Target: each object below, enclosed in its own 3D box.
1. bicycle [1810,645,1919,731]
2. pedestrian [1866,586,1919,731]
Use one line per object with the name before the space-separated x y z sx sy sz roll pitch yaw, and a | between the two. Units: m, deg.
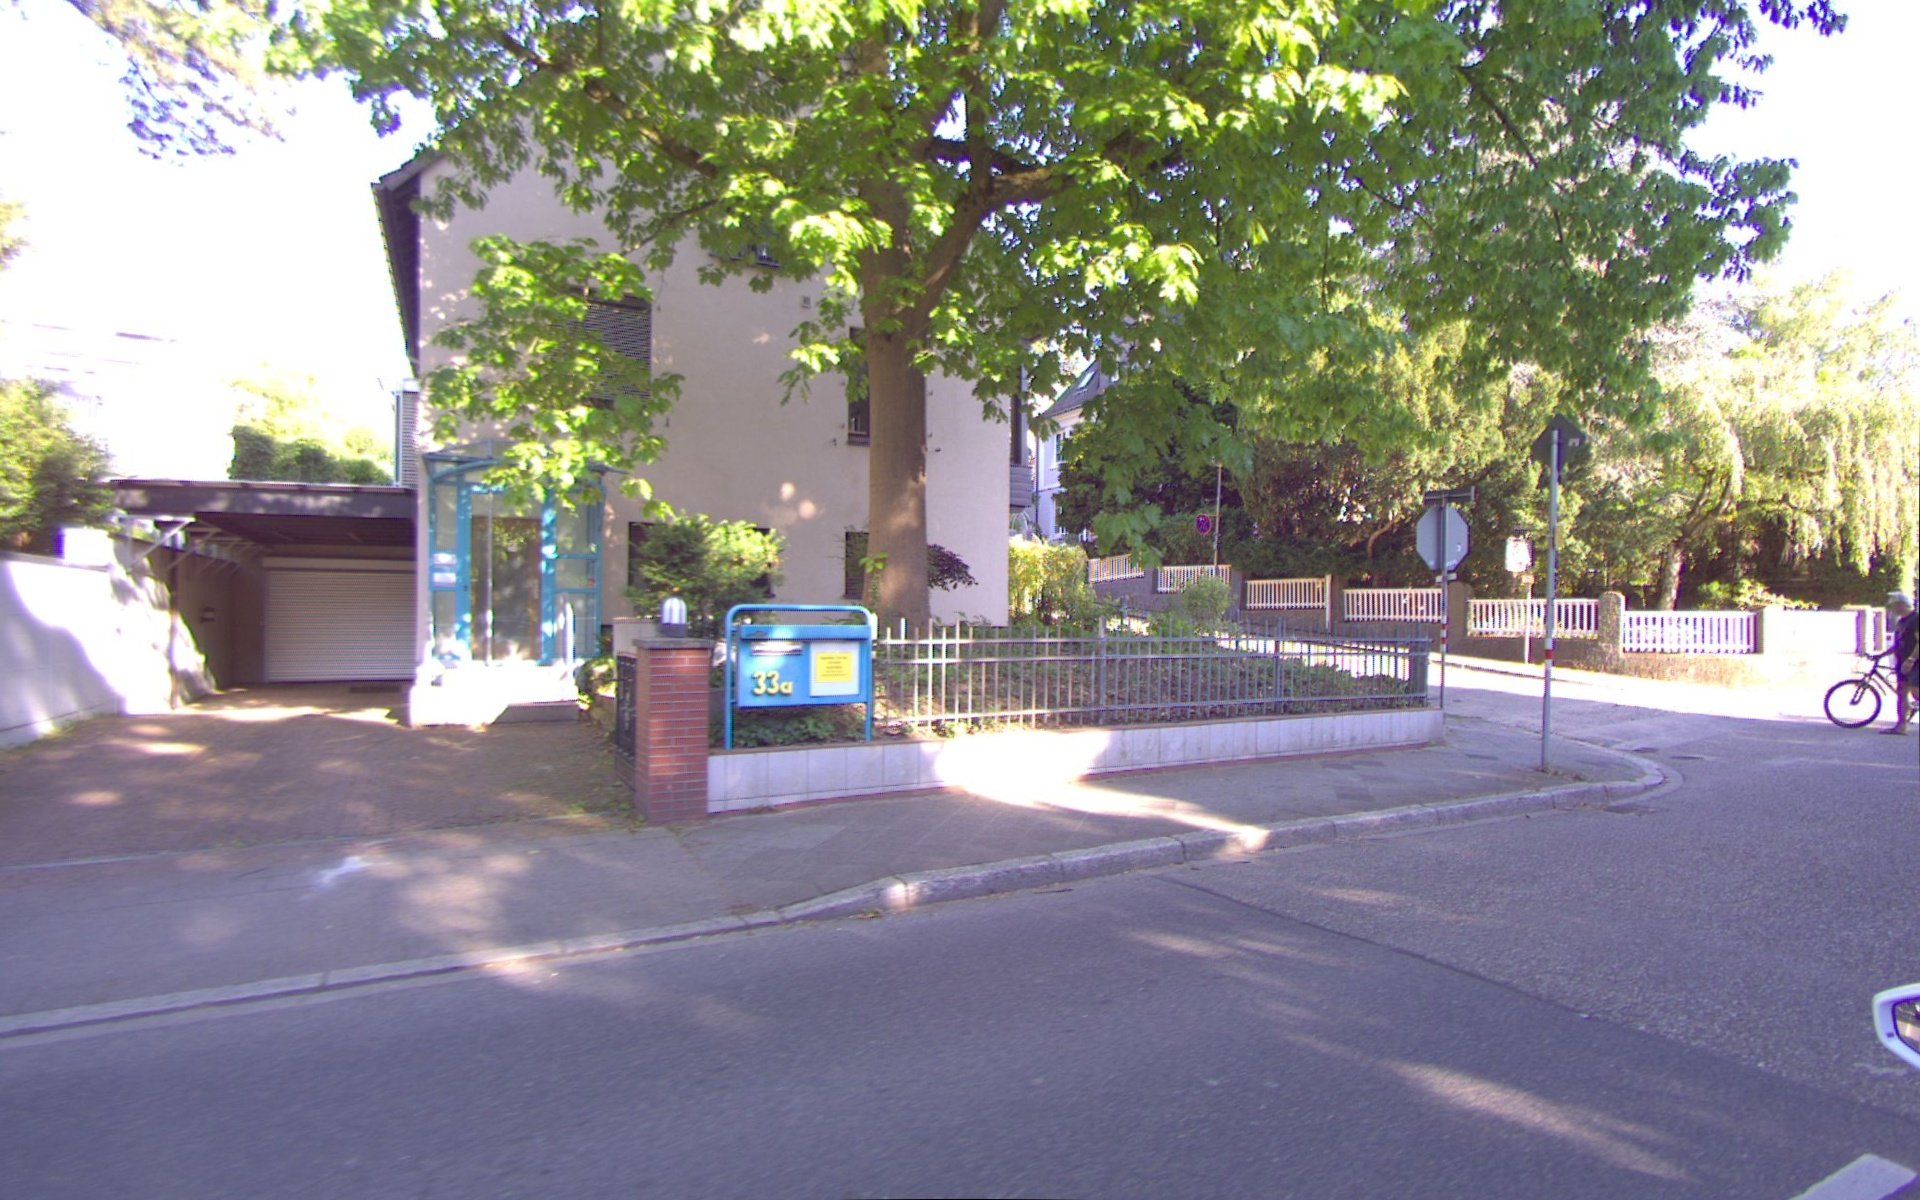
bicycle | 12.716 1.193 13.552 1.783 1.057 0.561 2 2 24
pedestrian | 12.548 0.759 13.074 0.925 1.851 0.554 2 2 22
